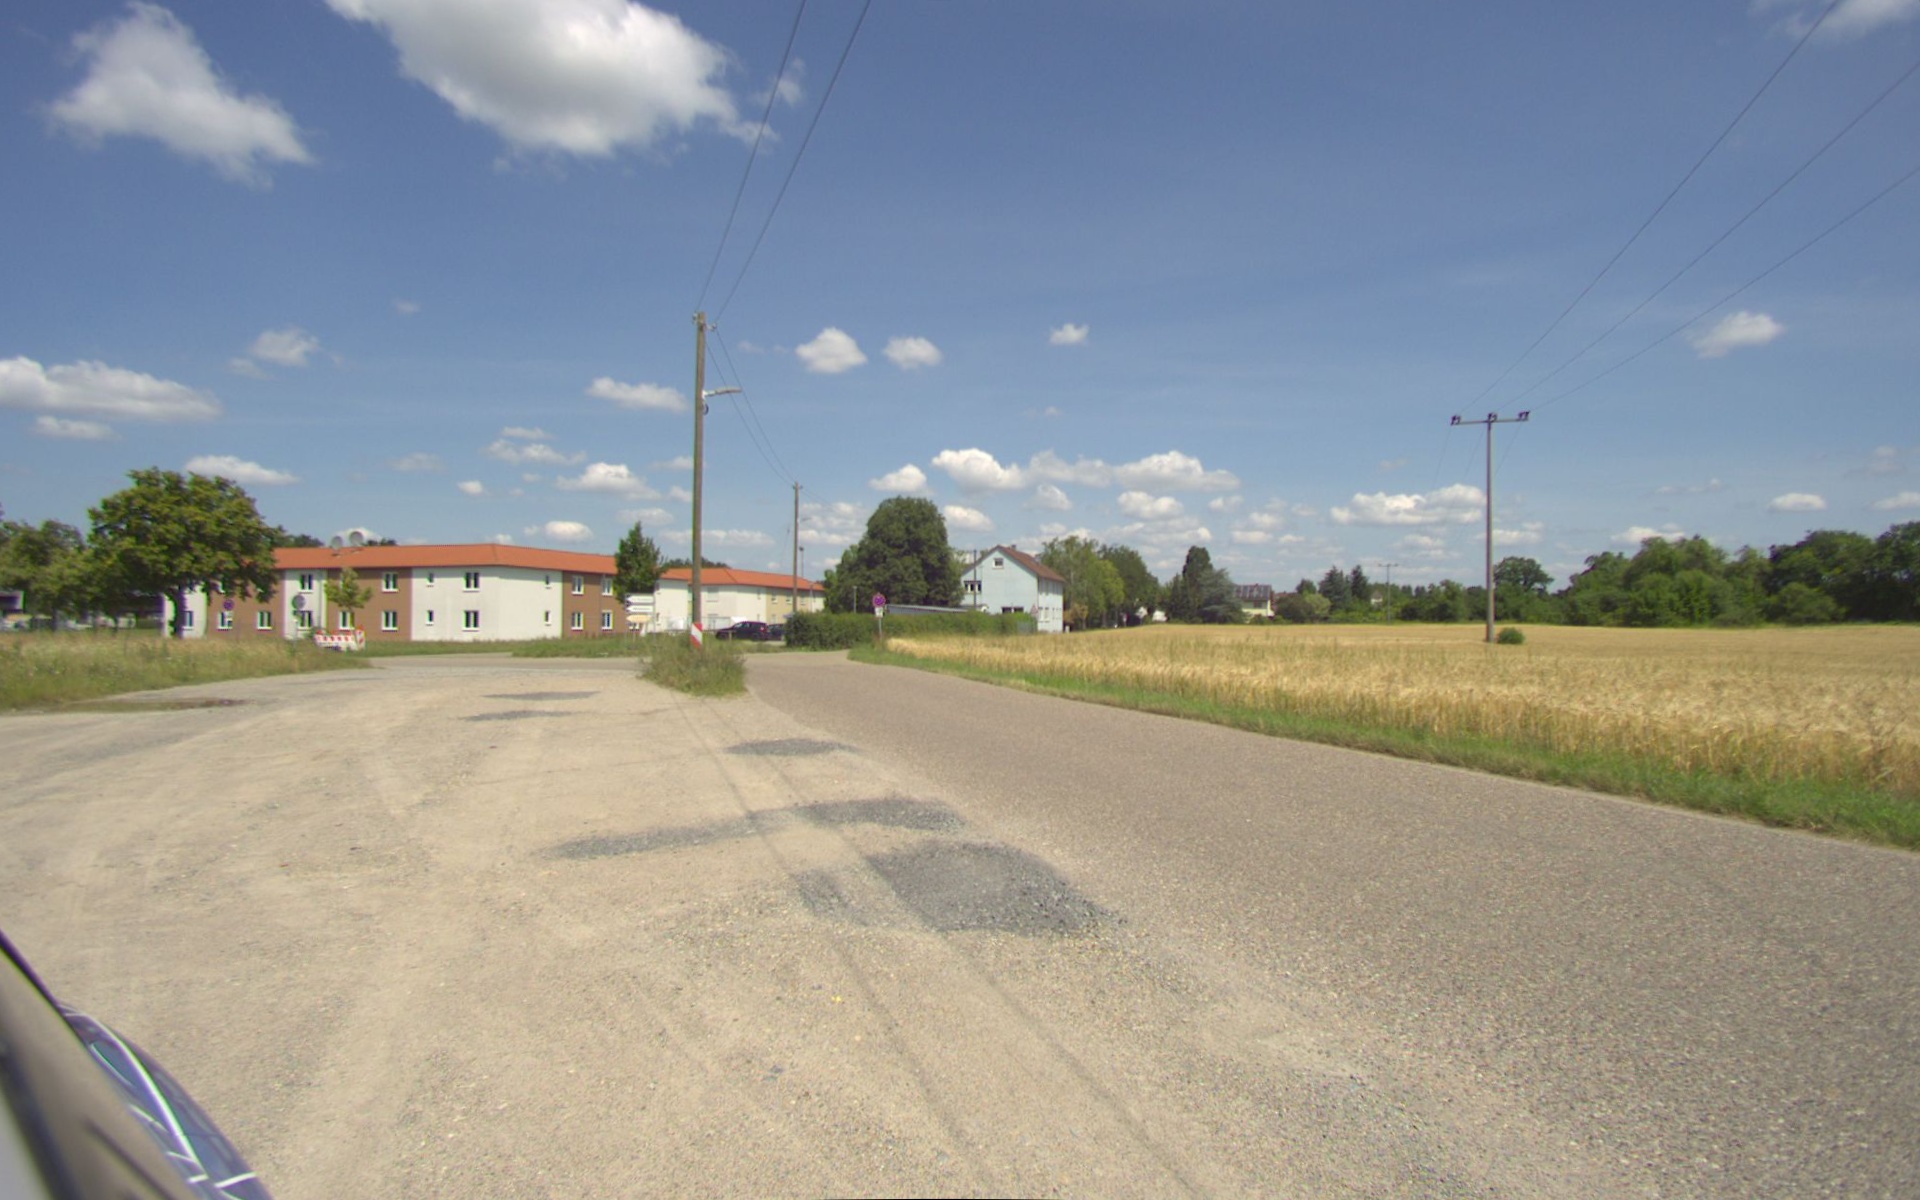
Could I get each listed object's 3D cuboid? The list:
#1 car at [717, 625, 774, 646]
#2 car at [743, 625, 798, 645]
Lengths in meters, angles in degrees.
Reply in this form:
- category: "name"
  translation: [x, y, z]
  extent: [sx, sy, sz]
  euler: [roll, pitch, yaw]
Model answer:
- category: "car"
  translation: [-17.178, 2.854, 81.112]
  extent: [4.109, 1.627, 1.990]
  euler: [0, -2, 15]
- category: "car"
  translation: [-15.903, 2.905, 84.821]
  extent: [4.109, 1.627, 1.990]
  euler: [0, -2, 15]
